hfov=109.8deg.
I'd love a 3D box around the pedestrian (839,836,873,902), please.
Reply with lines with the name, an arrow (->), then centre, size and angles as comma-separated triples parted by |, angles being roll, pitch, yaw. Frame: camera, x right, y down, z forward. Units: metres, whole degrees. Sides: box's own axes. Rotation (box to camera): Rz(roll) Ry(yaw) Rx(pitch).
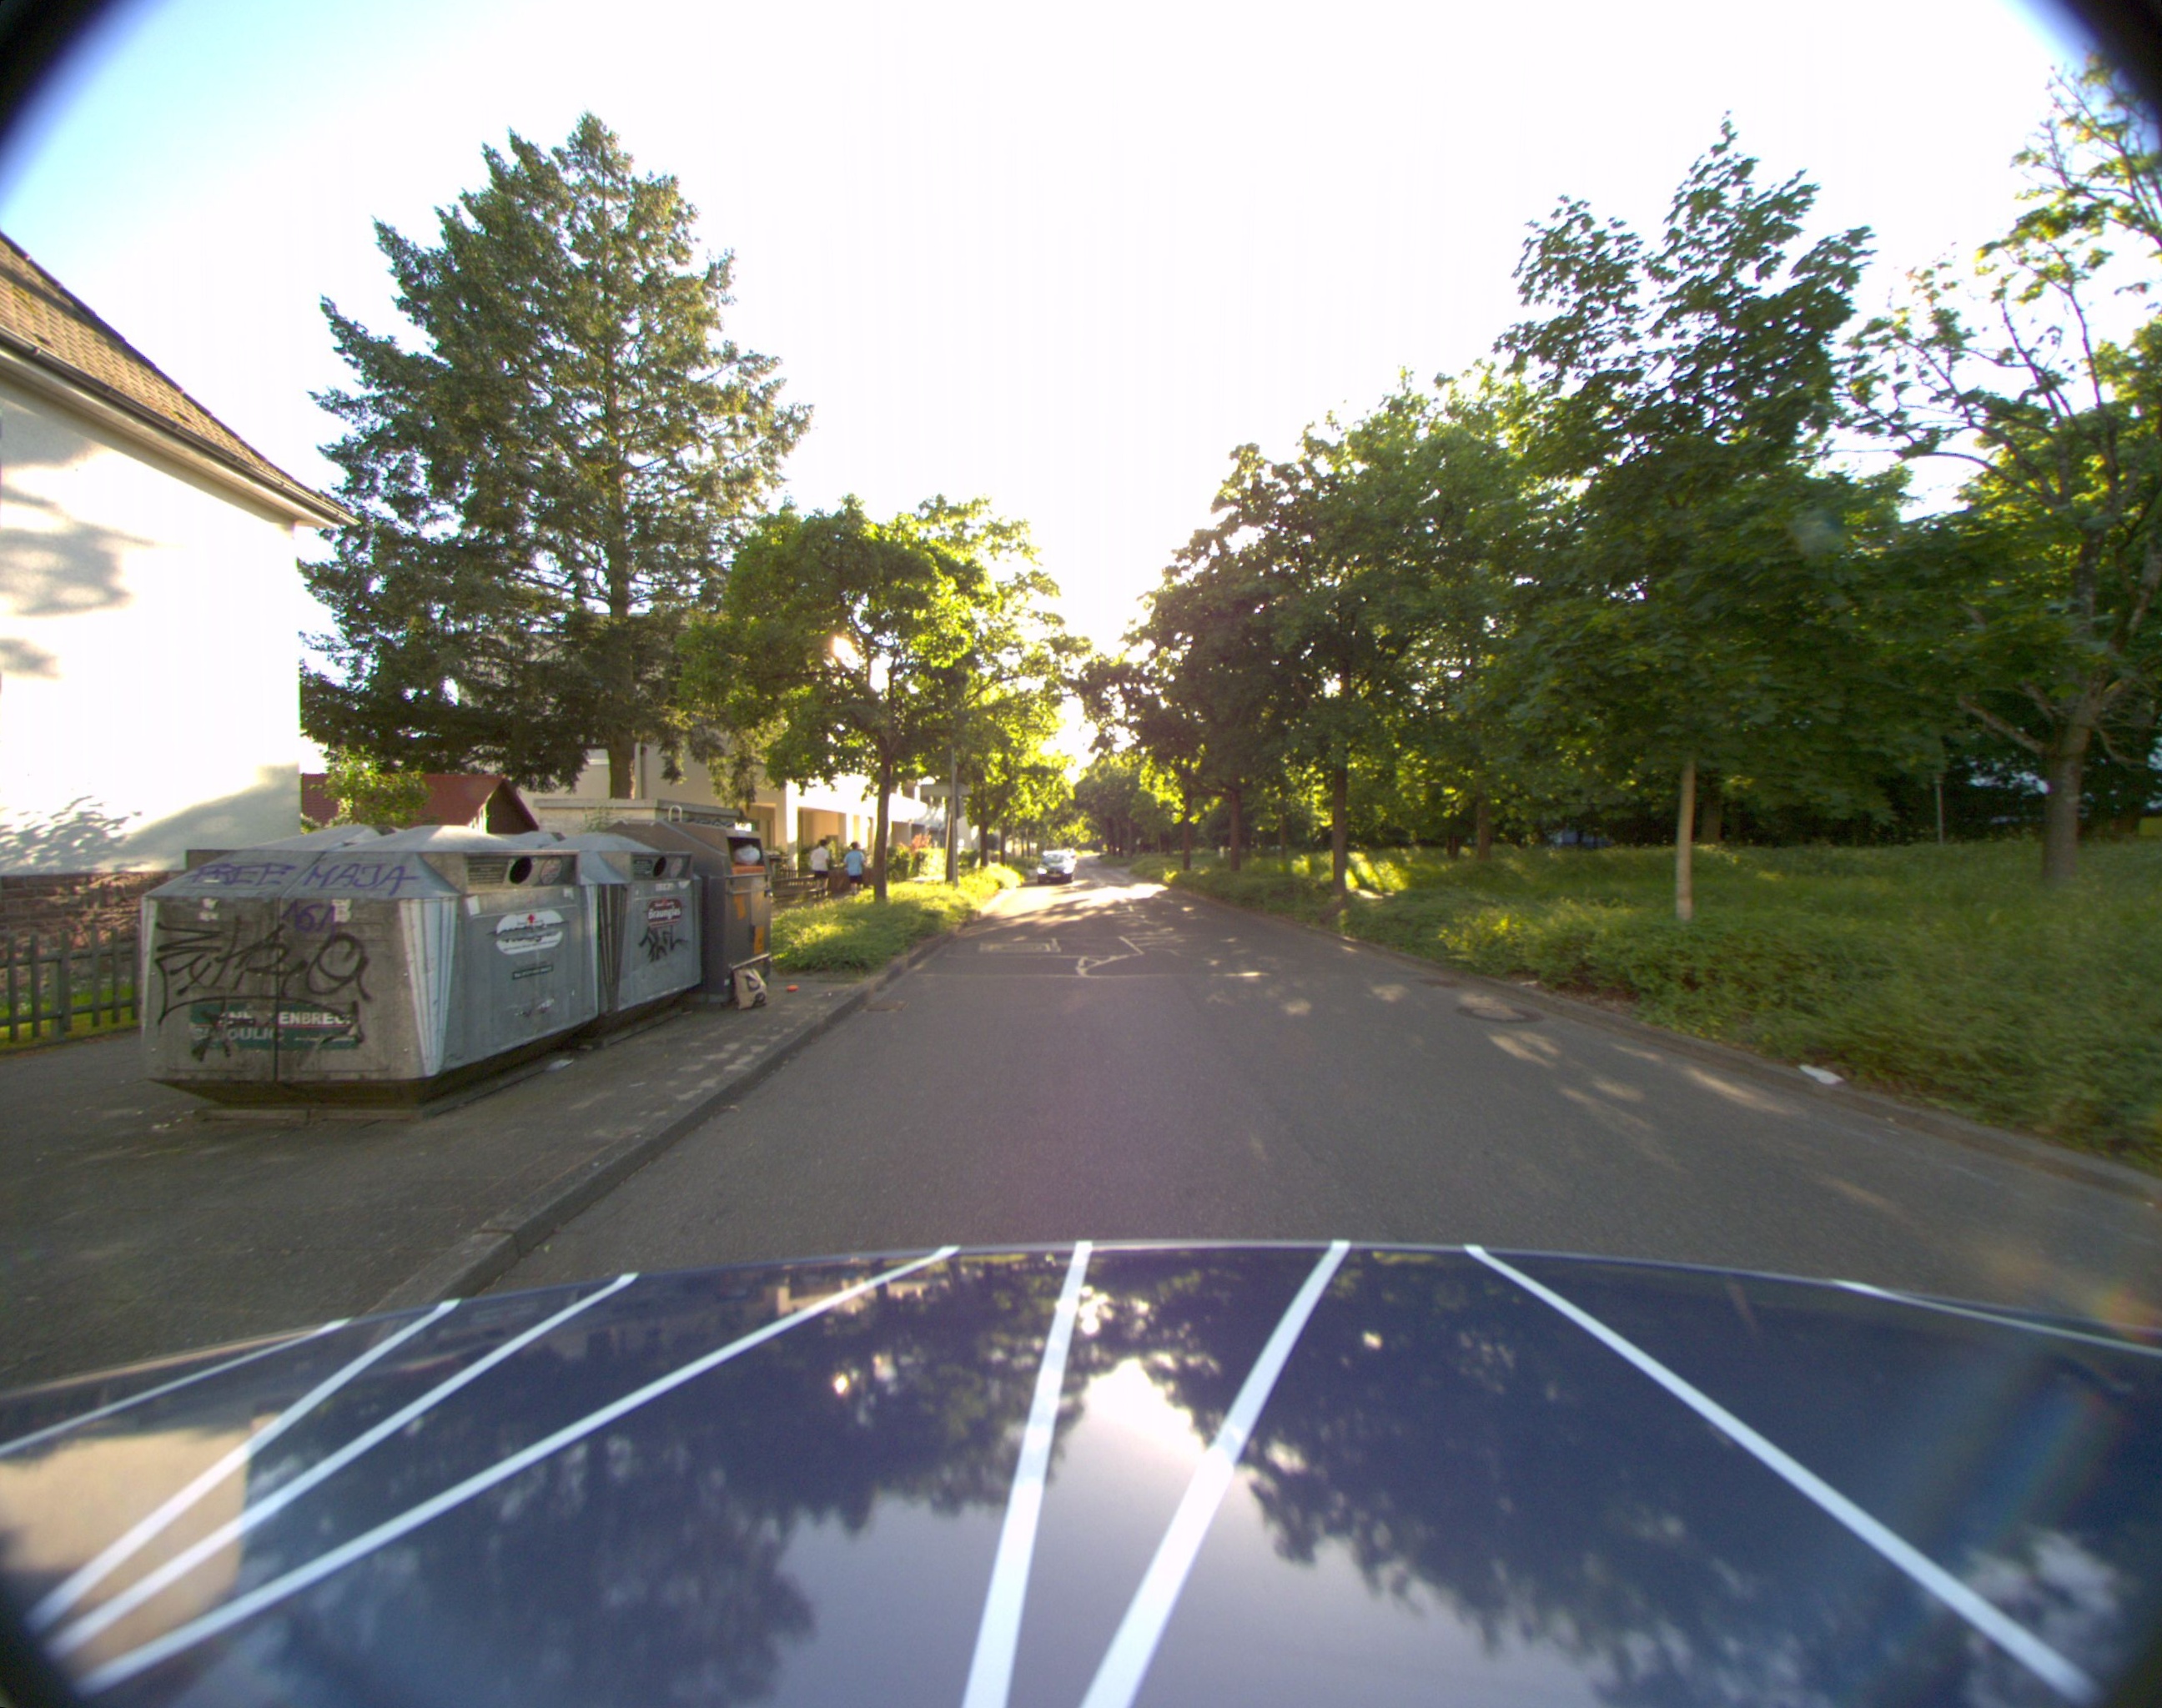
pedestrian -> -6.631, 0.435, 22.406 | 0.674, 1.883, 0.895 | -1, 1, -1

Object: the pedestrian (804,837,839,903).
pedestrian -> -7.658, 0.459, 22.463 | 0.644, 1.883, 1.018 | -1, 1, -1

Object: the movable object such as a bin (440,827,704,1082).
movable object such as a bin -> -4.005, 0.714, 6.168 | 1.150, 1.817, 1.386 | -1, 1, -2

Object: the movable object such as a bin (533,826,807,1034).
movable object such as a bin -> -3.972, 0.677, 7.593 | 1.925, 1.843, 1.393 | -1, 1, -2

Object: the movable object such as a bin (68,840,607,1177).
movable object such as a bin -> -4.213, 0.758, 4.619 | 1.590, 1.648, 1.639 | -1, 1, -2

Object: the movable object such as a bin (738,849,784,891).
movable object such as a bin -> -11.406, 0.566, 27.108 | 1.081, 1.419, 1.366 | 1, 1, -2

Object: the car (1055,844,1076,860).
car -> -1.618, -0.233, 79.478 | 1.998, 1.531, 3.999 | -1, 1, 1

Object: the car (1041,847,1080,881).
car -> -1.130, 0.476, 39.954 | 1.890, 1.613, 4.616 | -1, 1, -3

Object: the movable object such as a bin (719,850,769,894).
movable object such as a bin -> -11.351, 0.598, 25.645 | 1.081, 1.422, 1.387 | 1, 1, -2
